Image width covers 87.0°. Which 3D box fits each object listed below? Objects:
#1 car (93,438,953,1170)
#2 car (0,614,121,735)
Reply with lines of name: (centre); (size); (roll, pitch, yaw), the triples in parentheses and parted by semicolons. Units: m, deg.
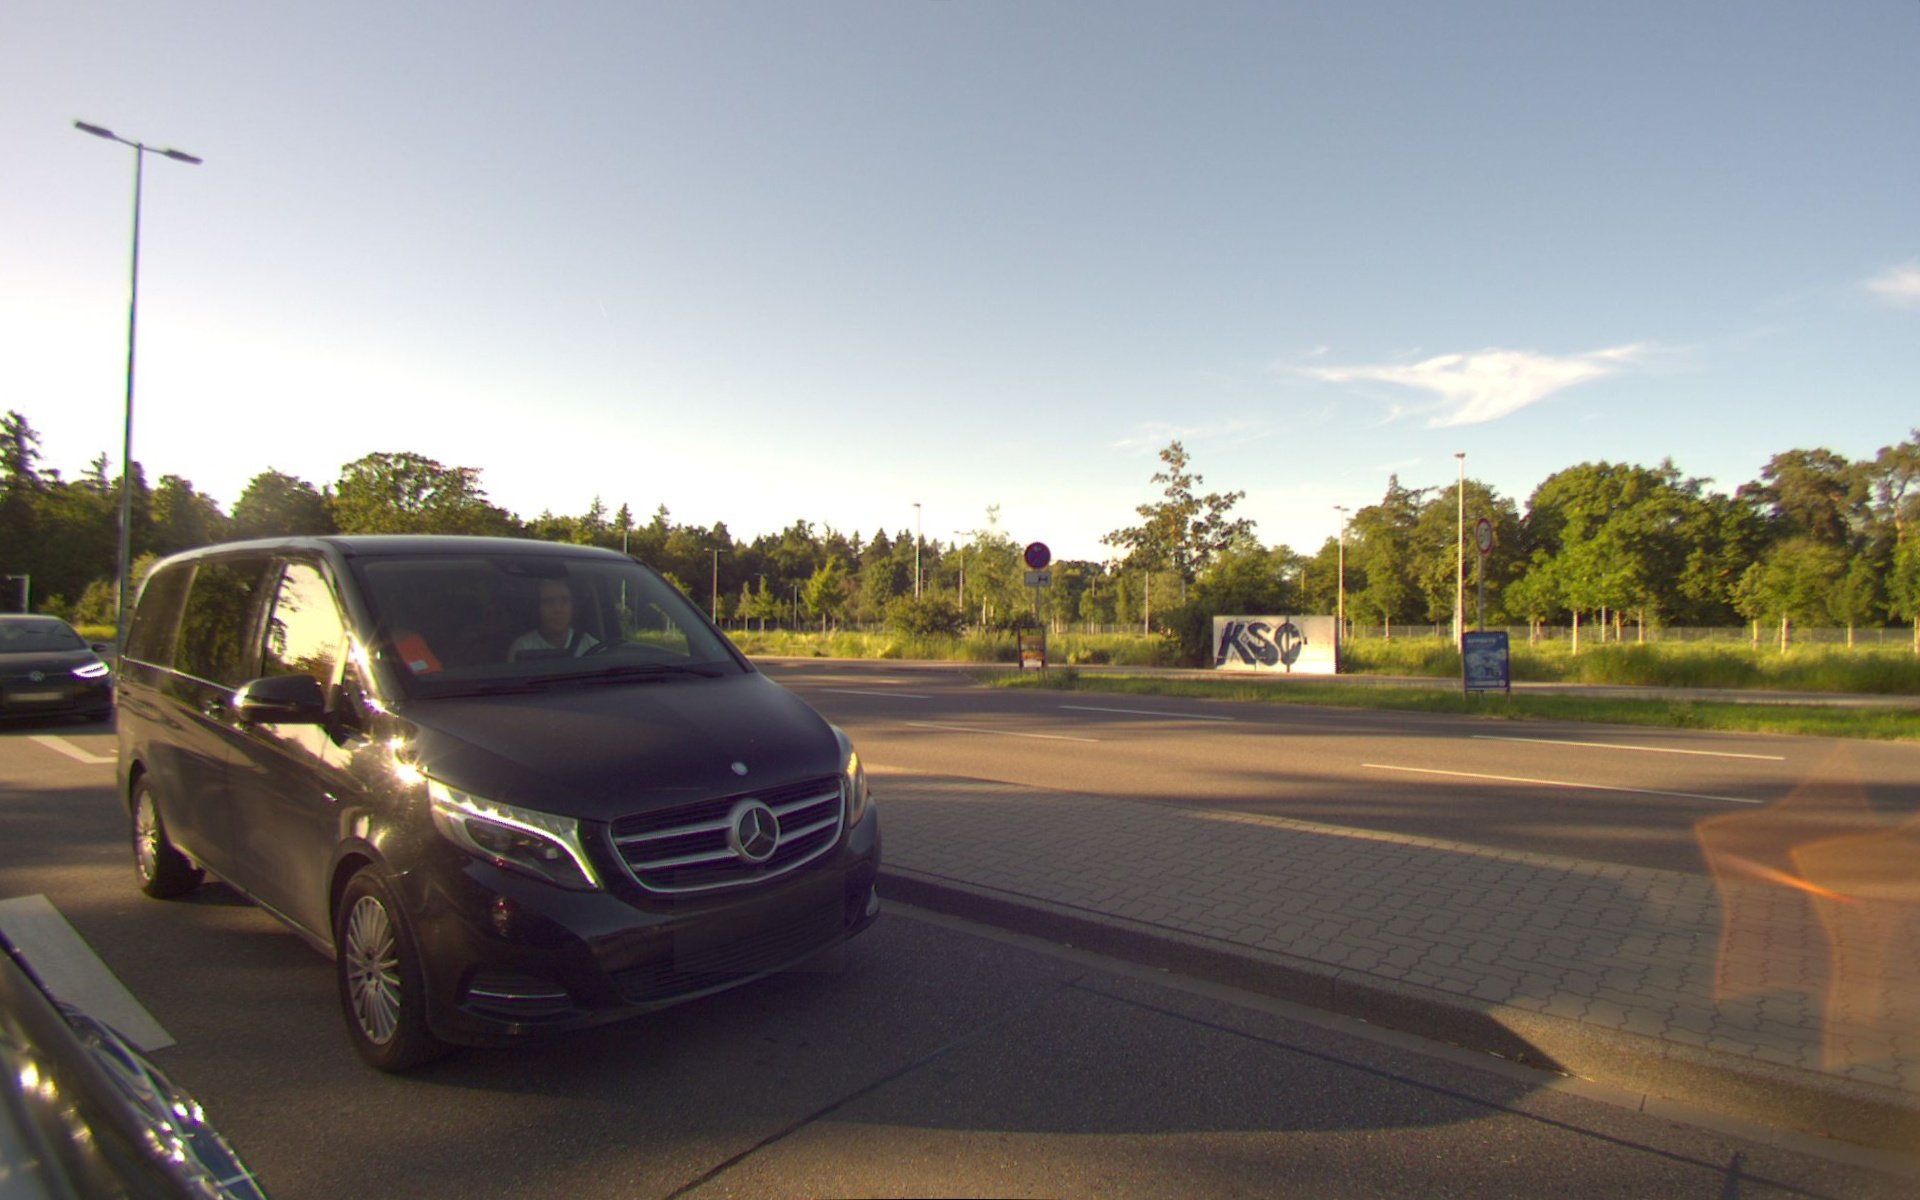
car: (-2.486, 0.527, 4.902); (4.870, 1.870, 1.888); (0, 0, 41)
car: (-13.754, 0.993, 14.614); (3.997, 1.548, 1.859); (-1, 0, 40)
